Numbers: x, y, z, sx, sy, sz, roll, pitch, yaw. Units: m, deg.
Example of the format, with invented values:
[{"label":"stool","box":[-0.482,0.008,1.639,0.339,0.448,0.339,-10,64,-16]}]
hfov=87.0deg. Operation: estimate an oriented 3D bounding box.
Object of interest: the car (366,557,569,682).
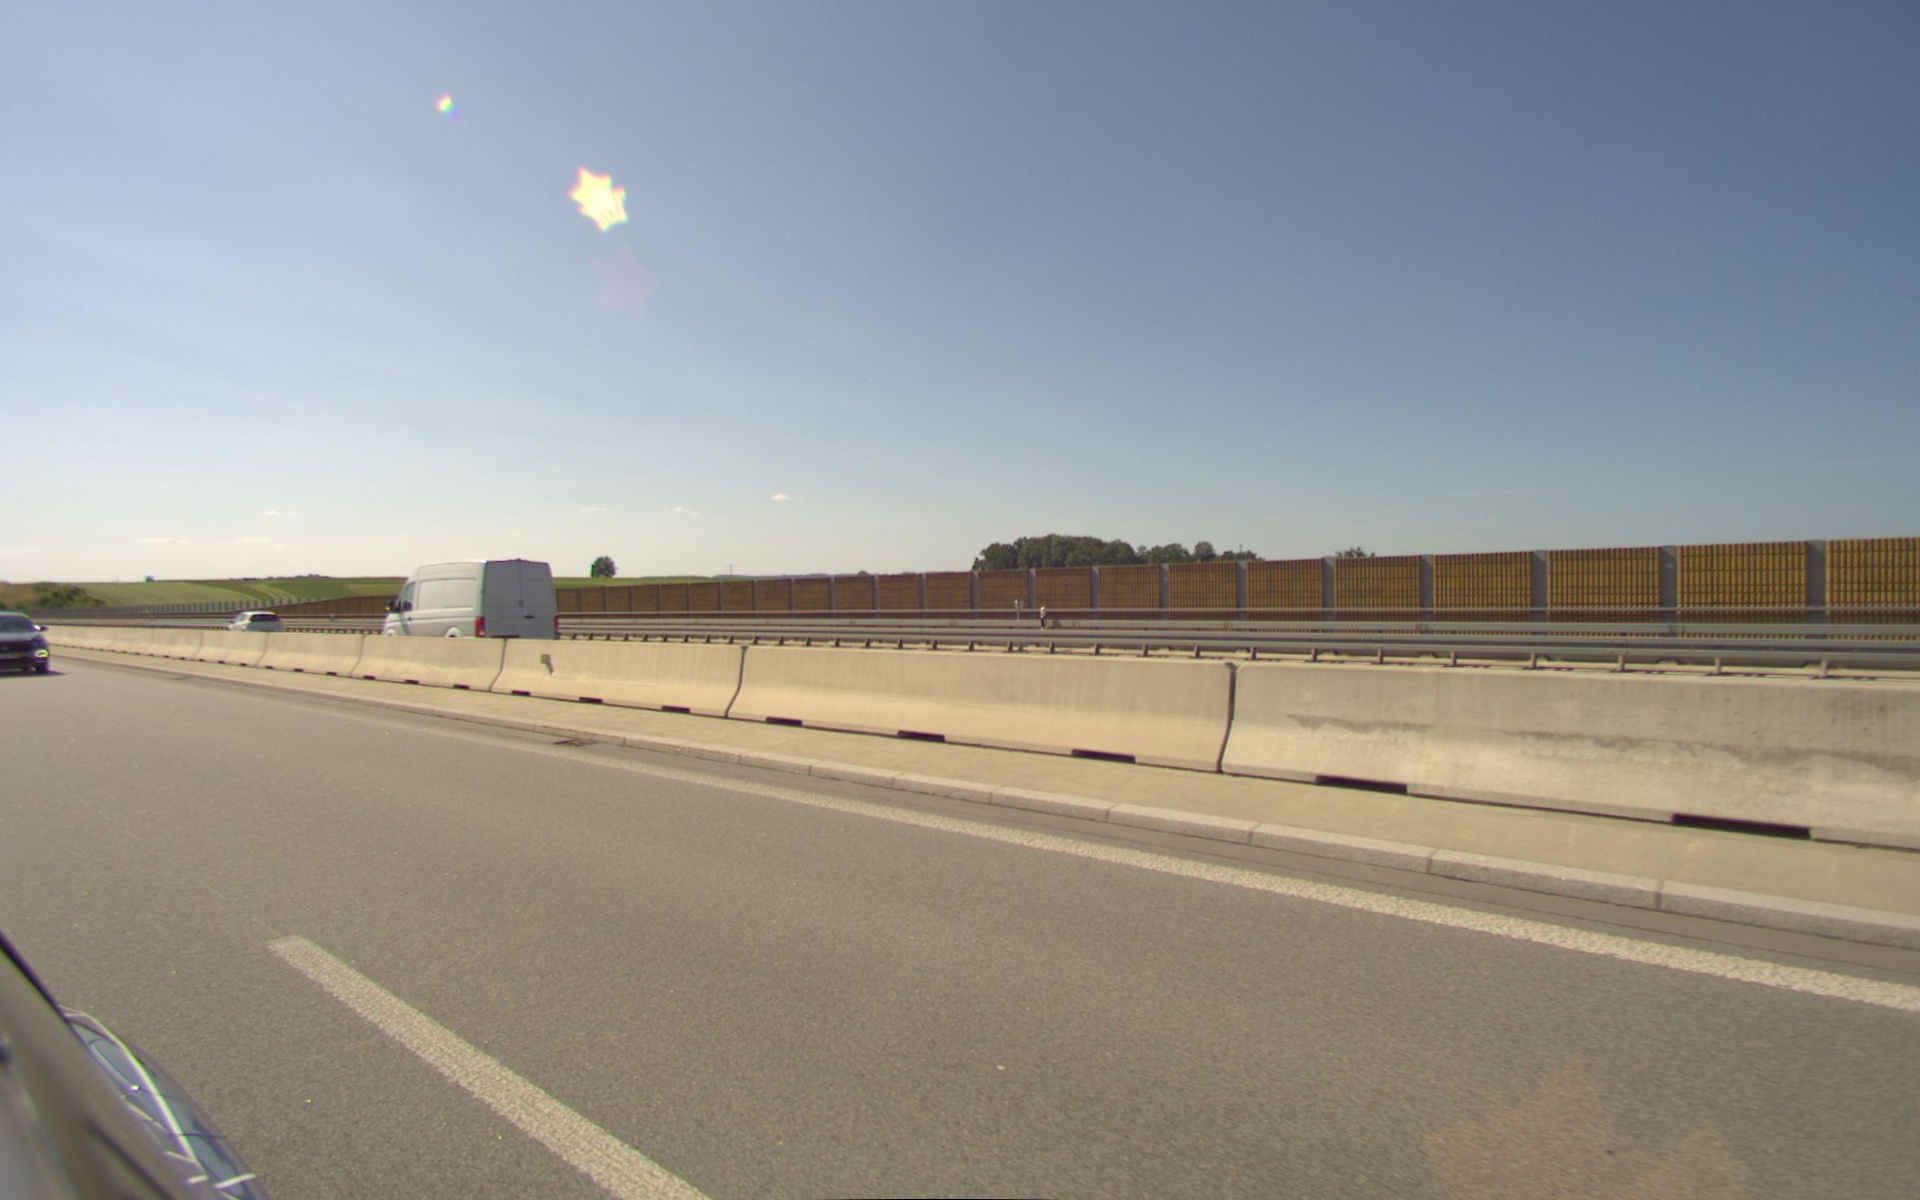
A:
[{"label":"car","box":[-12.185,0.465,24.757,6.482,2.690,2.002,-1,0,40]}]

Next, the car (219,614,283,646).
[{"label":"car","box":[-35.252,1.461,50.294,4.330,1.520,1.630,-1,0,42]}]

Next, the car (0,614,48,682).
[{"label":"car","box":[-24.676,1.186,25.657,4.986,1.581,1.753,-1,0,42]}]
